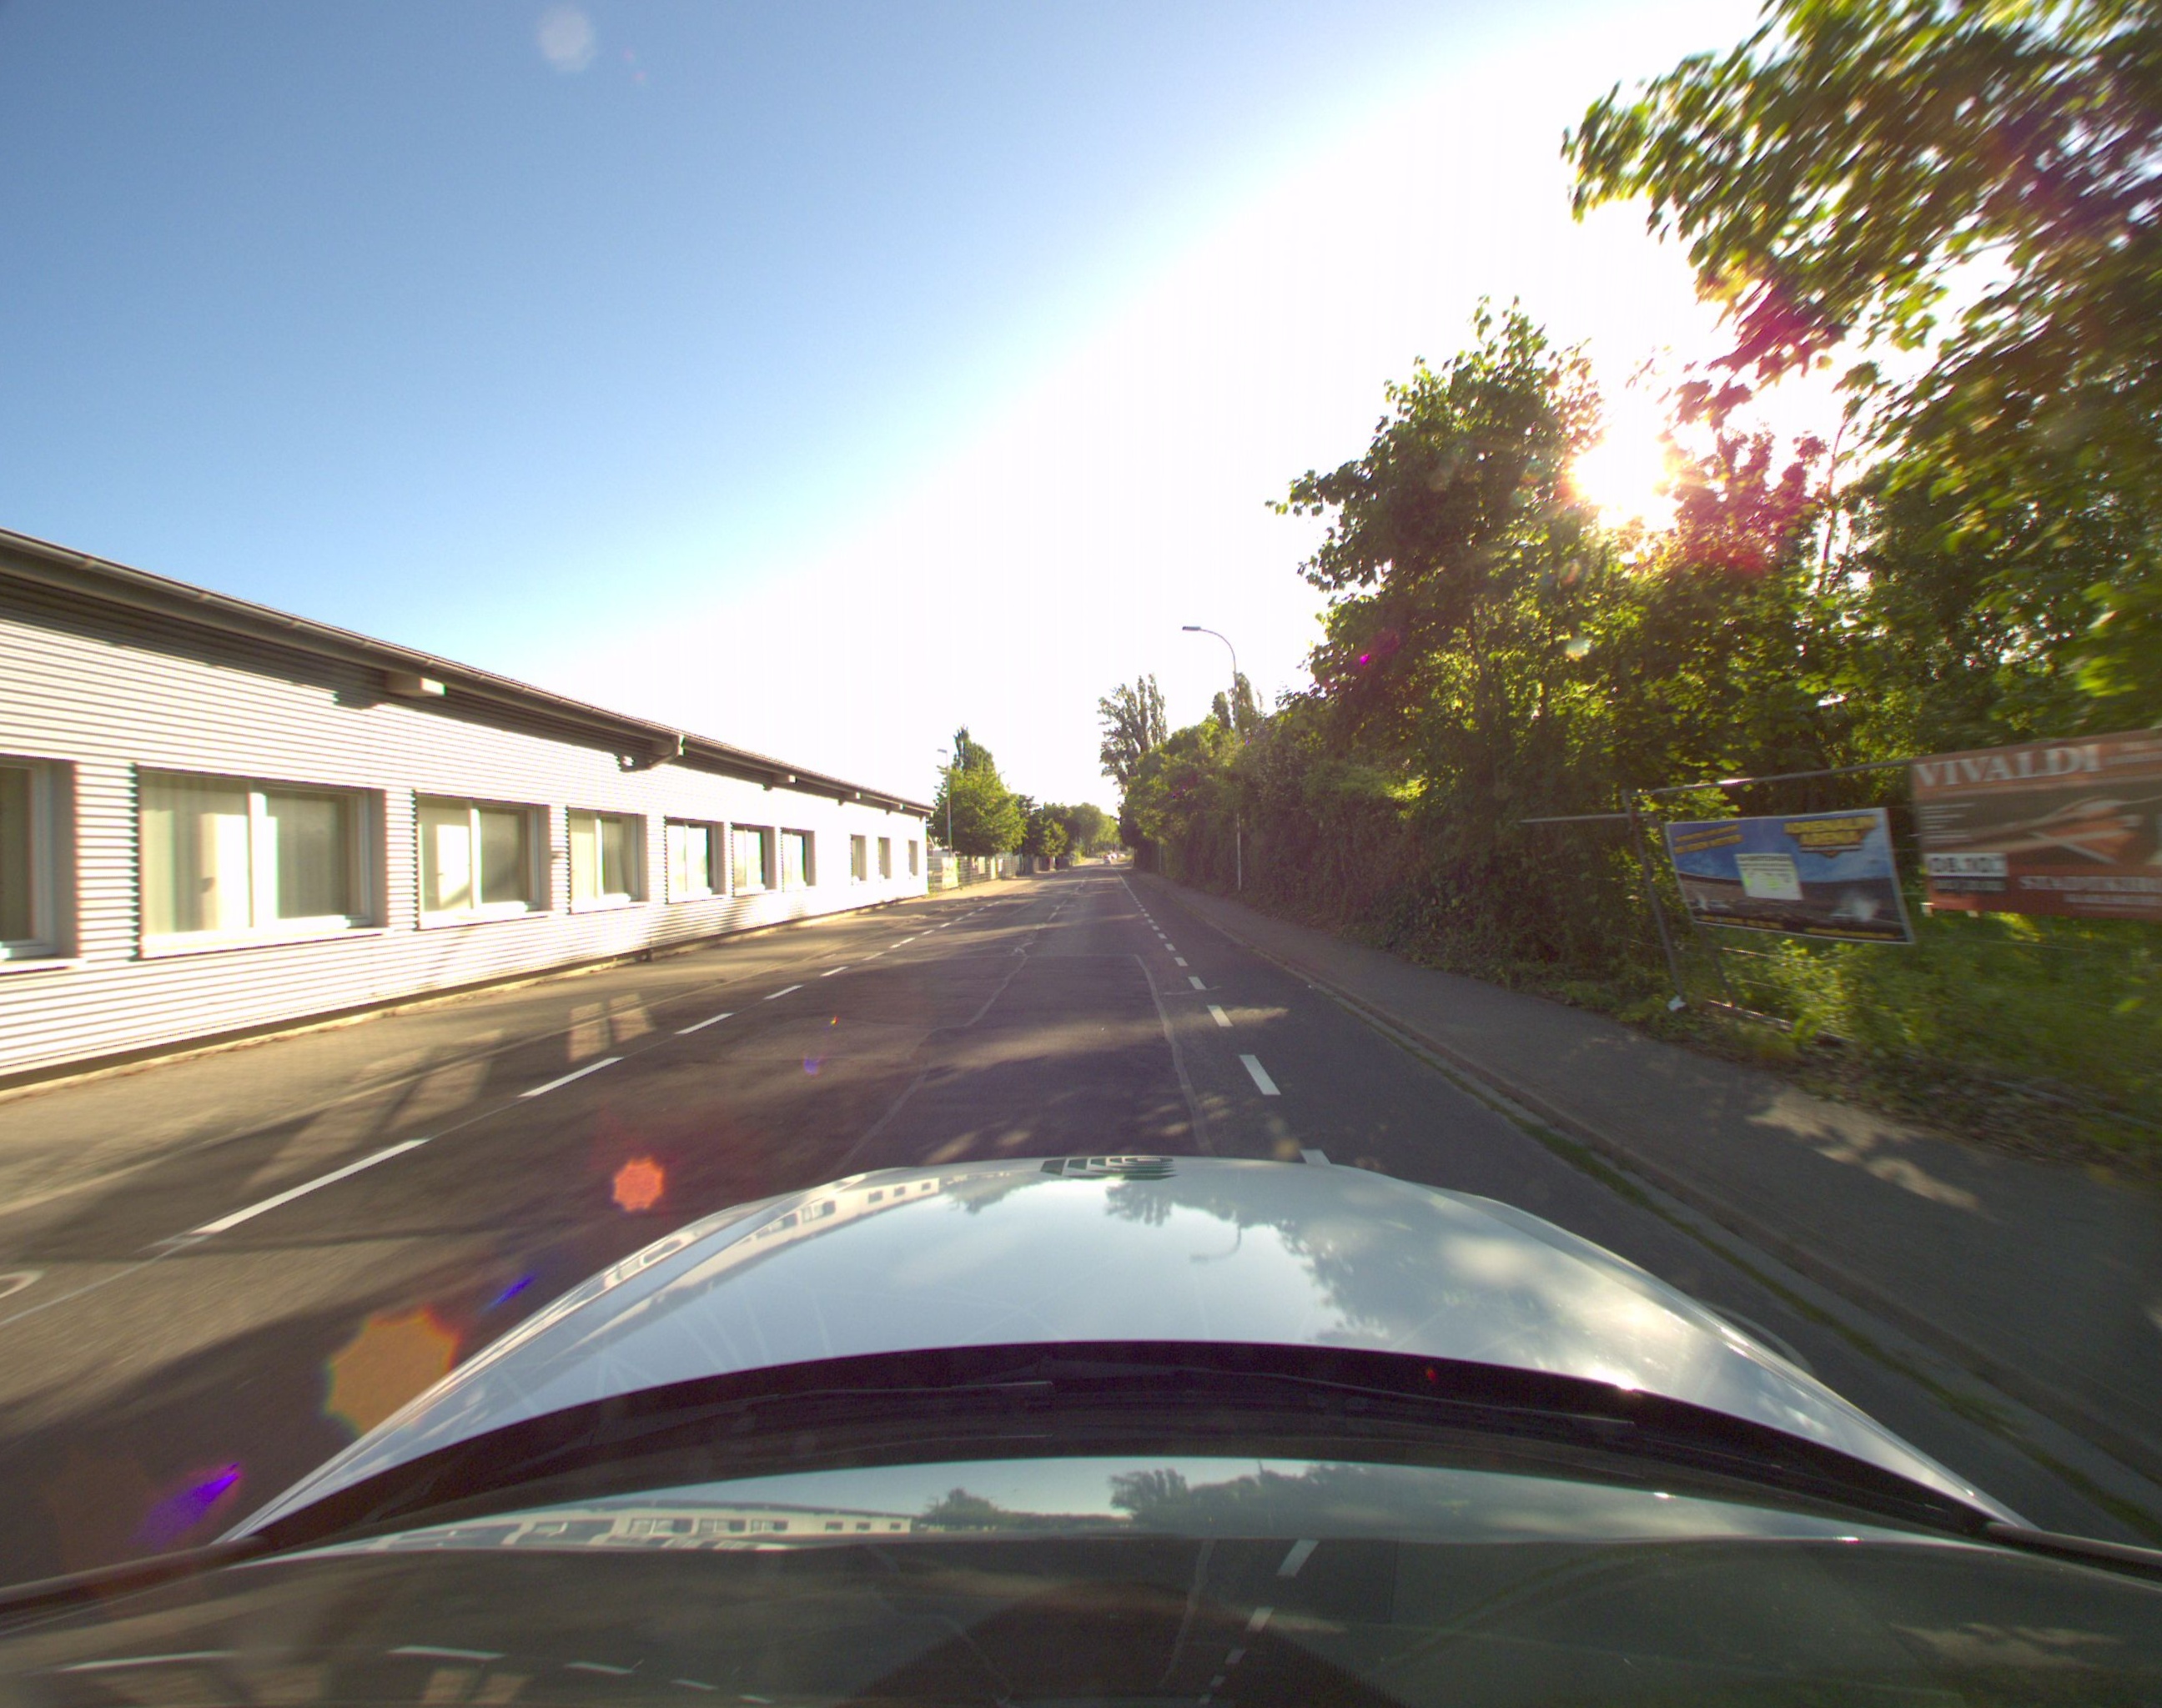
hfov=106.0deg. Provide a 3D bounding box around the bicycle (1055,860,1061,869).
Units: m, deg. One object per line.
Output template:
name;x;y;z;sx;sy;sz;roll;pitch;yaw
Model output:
bicycle;-2.824;1.306;99.305;0.686;1.034;1.351;-1;0;2

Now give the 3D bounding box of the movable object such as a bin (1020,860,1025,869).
movable object such as a bin;-7.542;1.388;105.131;0.461;1.076;1.570;-2;0;2

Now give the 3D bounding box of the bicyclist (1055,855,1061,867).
bicyclist;-2.826;0.838;99.264;0.687;1.532;0.723;-1;0;1

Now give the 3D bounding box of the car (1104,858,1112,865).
car;7.166;1.940;216.038;1.935;1.651;4.311;-1;0;2

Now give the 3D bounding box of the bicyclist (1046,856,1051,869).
bicyclist;-4.024;1.040;100.125;0.558;1.534;0.689;-1;0;1

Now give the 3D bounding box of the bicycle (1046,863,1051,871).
bicycle;-4.020;1.586;100.204;0.560;1.034;1.351;-1;0;2

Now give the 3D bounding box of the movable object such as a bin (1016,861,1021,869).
movable object such as a bin;-8.048;1.416;105.319;0.461;1.076;1.570;-2;0;2
